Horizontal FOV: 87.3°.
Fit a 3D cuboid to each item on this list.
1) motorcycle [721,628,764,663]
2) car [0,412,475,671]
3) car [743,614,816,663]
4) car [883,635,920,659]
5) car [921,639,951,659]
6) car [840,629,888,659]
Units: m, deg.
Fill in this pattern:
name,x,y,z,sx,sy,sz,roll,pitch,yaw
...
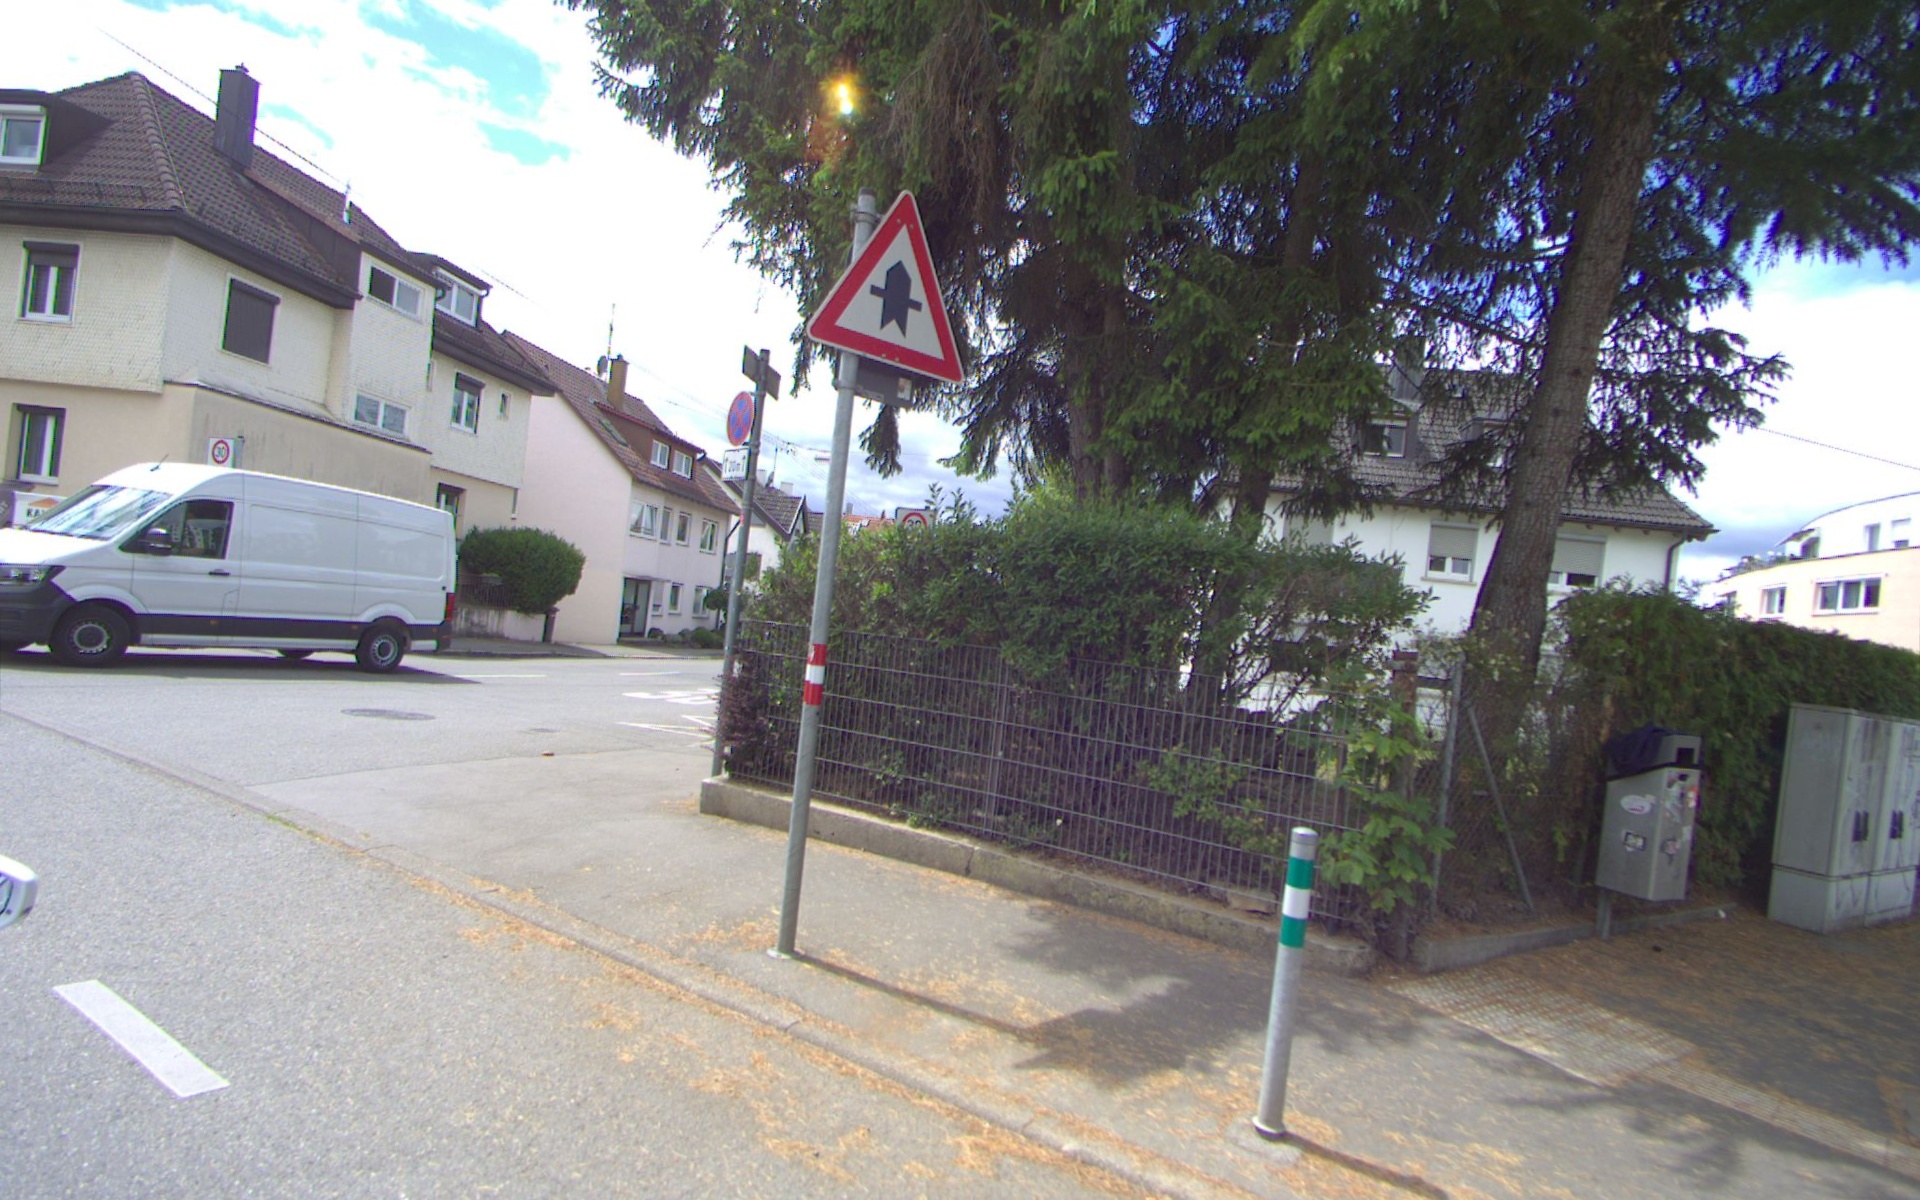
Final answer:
name,x,y,z,sx,sy,sz,roll,pitch,yaw
motorcycle,-7.975,1.674,36.945,0.521,1.171,1.761,5,-2,24
car,-9.714,-0.494,13.369,1.963,2.611,6.019,6,-2,20
car,-7.176,1.583,40.449,1.672,1.681,4.005,6,-2,7
car,-3.798,3.103,65.988,1.672,1.400,4.005,6,-2,7
car,-1.878,3.900,79.421,1.672,1.400,4.005,6,-2,7
car,-5.219,2.443,55.215,1.672,1.400,4.005,6,-2,7
